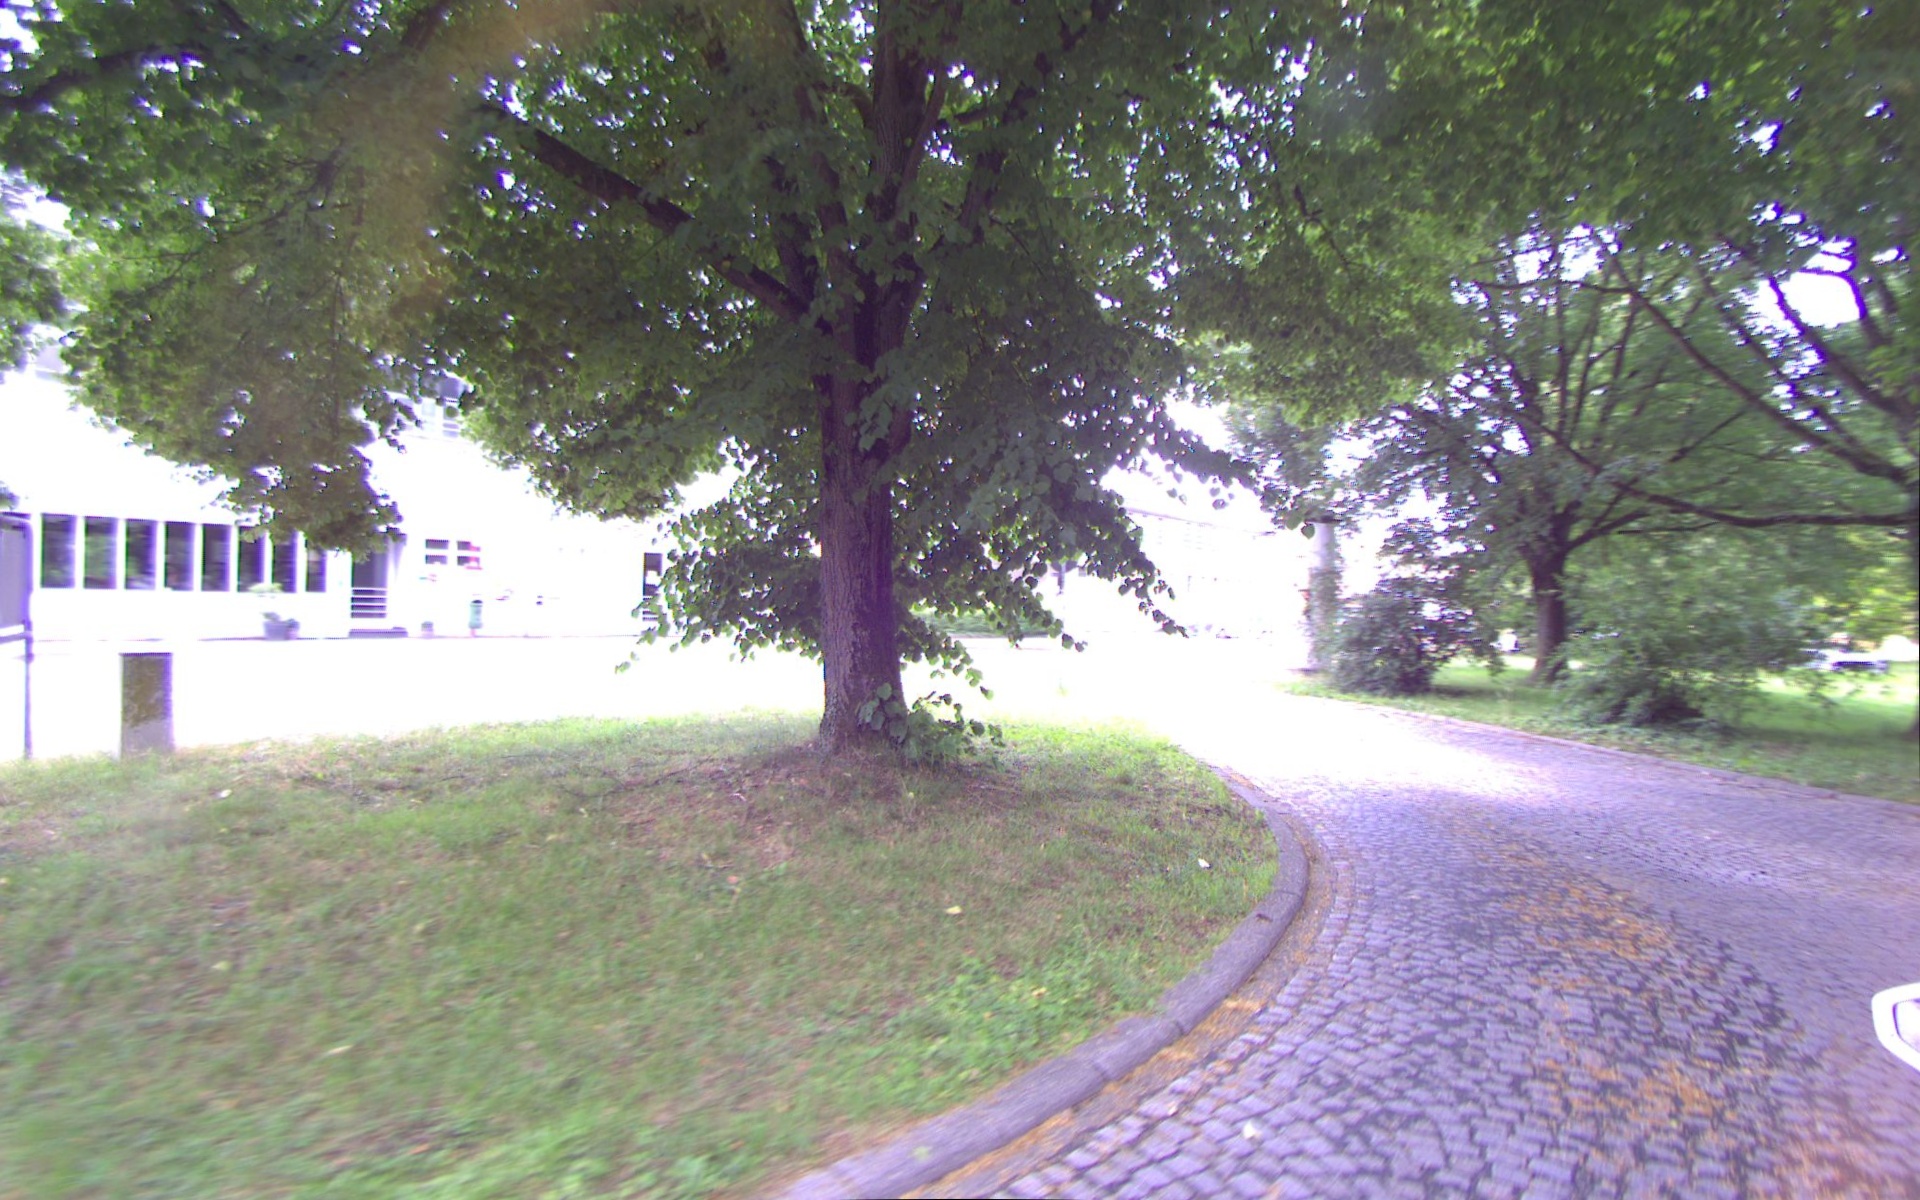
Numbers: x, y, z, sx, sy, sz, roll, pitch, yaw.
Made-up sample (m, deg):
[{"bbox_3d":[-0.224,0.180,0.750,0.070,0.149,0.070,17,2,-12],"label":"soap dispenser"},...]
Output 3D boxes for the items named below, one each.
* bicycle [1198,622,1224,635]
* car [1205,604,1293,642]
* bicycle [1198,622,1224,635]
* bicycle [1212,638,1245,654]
[{"bbox_3d":[16.910,1.933,67.687,1.641,0.767,0.570,3,0,15],"label":"bicycle"},{"bbox_3d":[17.016,1.361,59.195,4.570,2.040,1.994,1,-1,36],"label":"car"},{"bbox_3d":[17.126,1.922,68.532,1.641,0.767,0.570,3,0,15],"label":"bicycle"},{"bbox_3d":[14.827,2.514,55.577,1.647,0.767,0.568,3,0,36],"label":"bicycle"}]
